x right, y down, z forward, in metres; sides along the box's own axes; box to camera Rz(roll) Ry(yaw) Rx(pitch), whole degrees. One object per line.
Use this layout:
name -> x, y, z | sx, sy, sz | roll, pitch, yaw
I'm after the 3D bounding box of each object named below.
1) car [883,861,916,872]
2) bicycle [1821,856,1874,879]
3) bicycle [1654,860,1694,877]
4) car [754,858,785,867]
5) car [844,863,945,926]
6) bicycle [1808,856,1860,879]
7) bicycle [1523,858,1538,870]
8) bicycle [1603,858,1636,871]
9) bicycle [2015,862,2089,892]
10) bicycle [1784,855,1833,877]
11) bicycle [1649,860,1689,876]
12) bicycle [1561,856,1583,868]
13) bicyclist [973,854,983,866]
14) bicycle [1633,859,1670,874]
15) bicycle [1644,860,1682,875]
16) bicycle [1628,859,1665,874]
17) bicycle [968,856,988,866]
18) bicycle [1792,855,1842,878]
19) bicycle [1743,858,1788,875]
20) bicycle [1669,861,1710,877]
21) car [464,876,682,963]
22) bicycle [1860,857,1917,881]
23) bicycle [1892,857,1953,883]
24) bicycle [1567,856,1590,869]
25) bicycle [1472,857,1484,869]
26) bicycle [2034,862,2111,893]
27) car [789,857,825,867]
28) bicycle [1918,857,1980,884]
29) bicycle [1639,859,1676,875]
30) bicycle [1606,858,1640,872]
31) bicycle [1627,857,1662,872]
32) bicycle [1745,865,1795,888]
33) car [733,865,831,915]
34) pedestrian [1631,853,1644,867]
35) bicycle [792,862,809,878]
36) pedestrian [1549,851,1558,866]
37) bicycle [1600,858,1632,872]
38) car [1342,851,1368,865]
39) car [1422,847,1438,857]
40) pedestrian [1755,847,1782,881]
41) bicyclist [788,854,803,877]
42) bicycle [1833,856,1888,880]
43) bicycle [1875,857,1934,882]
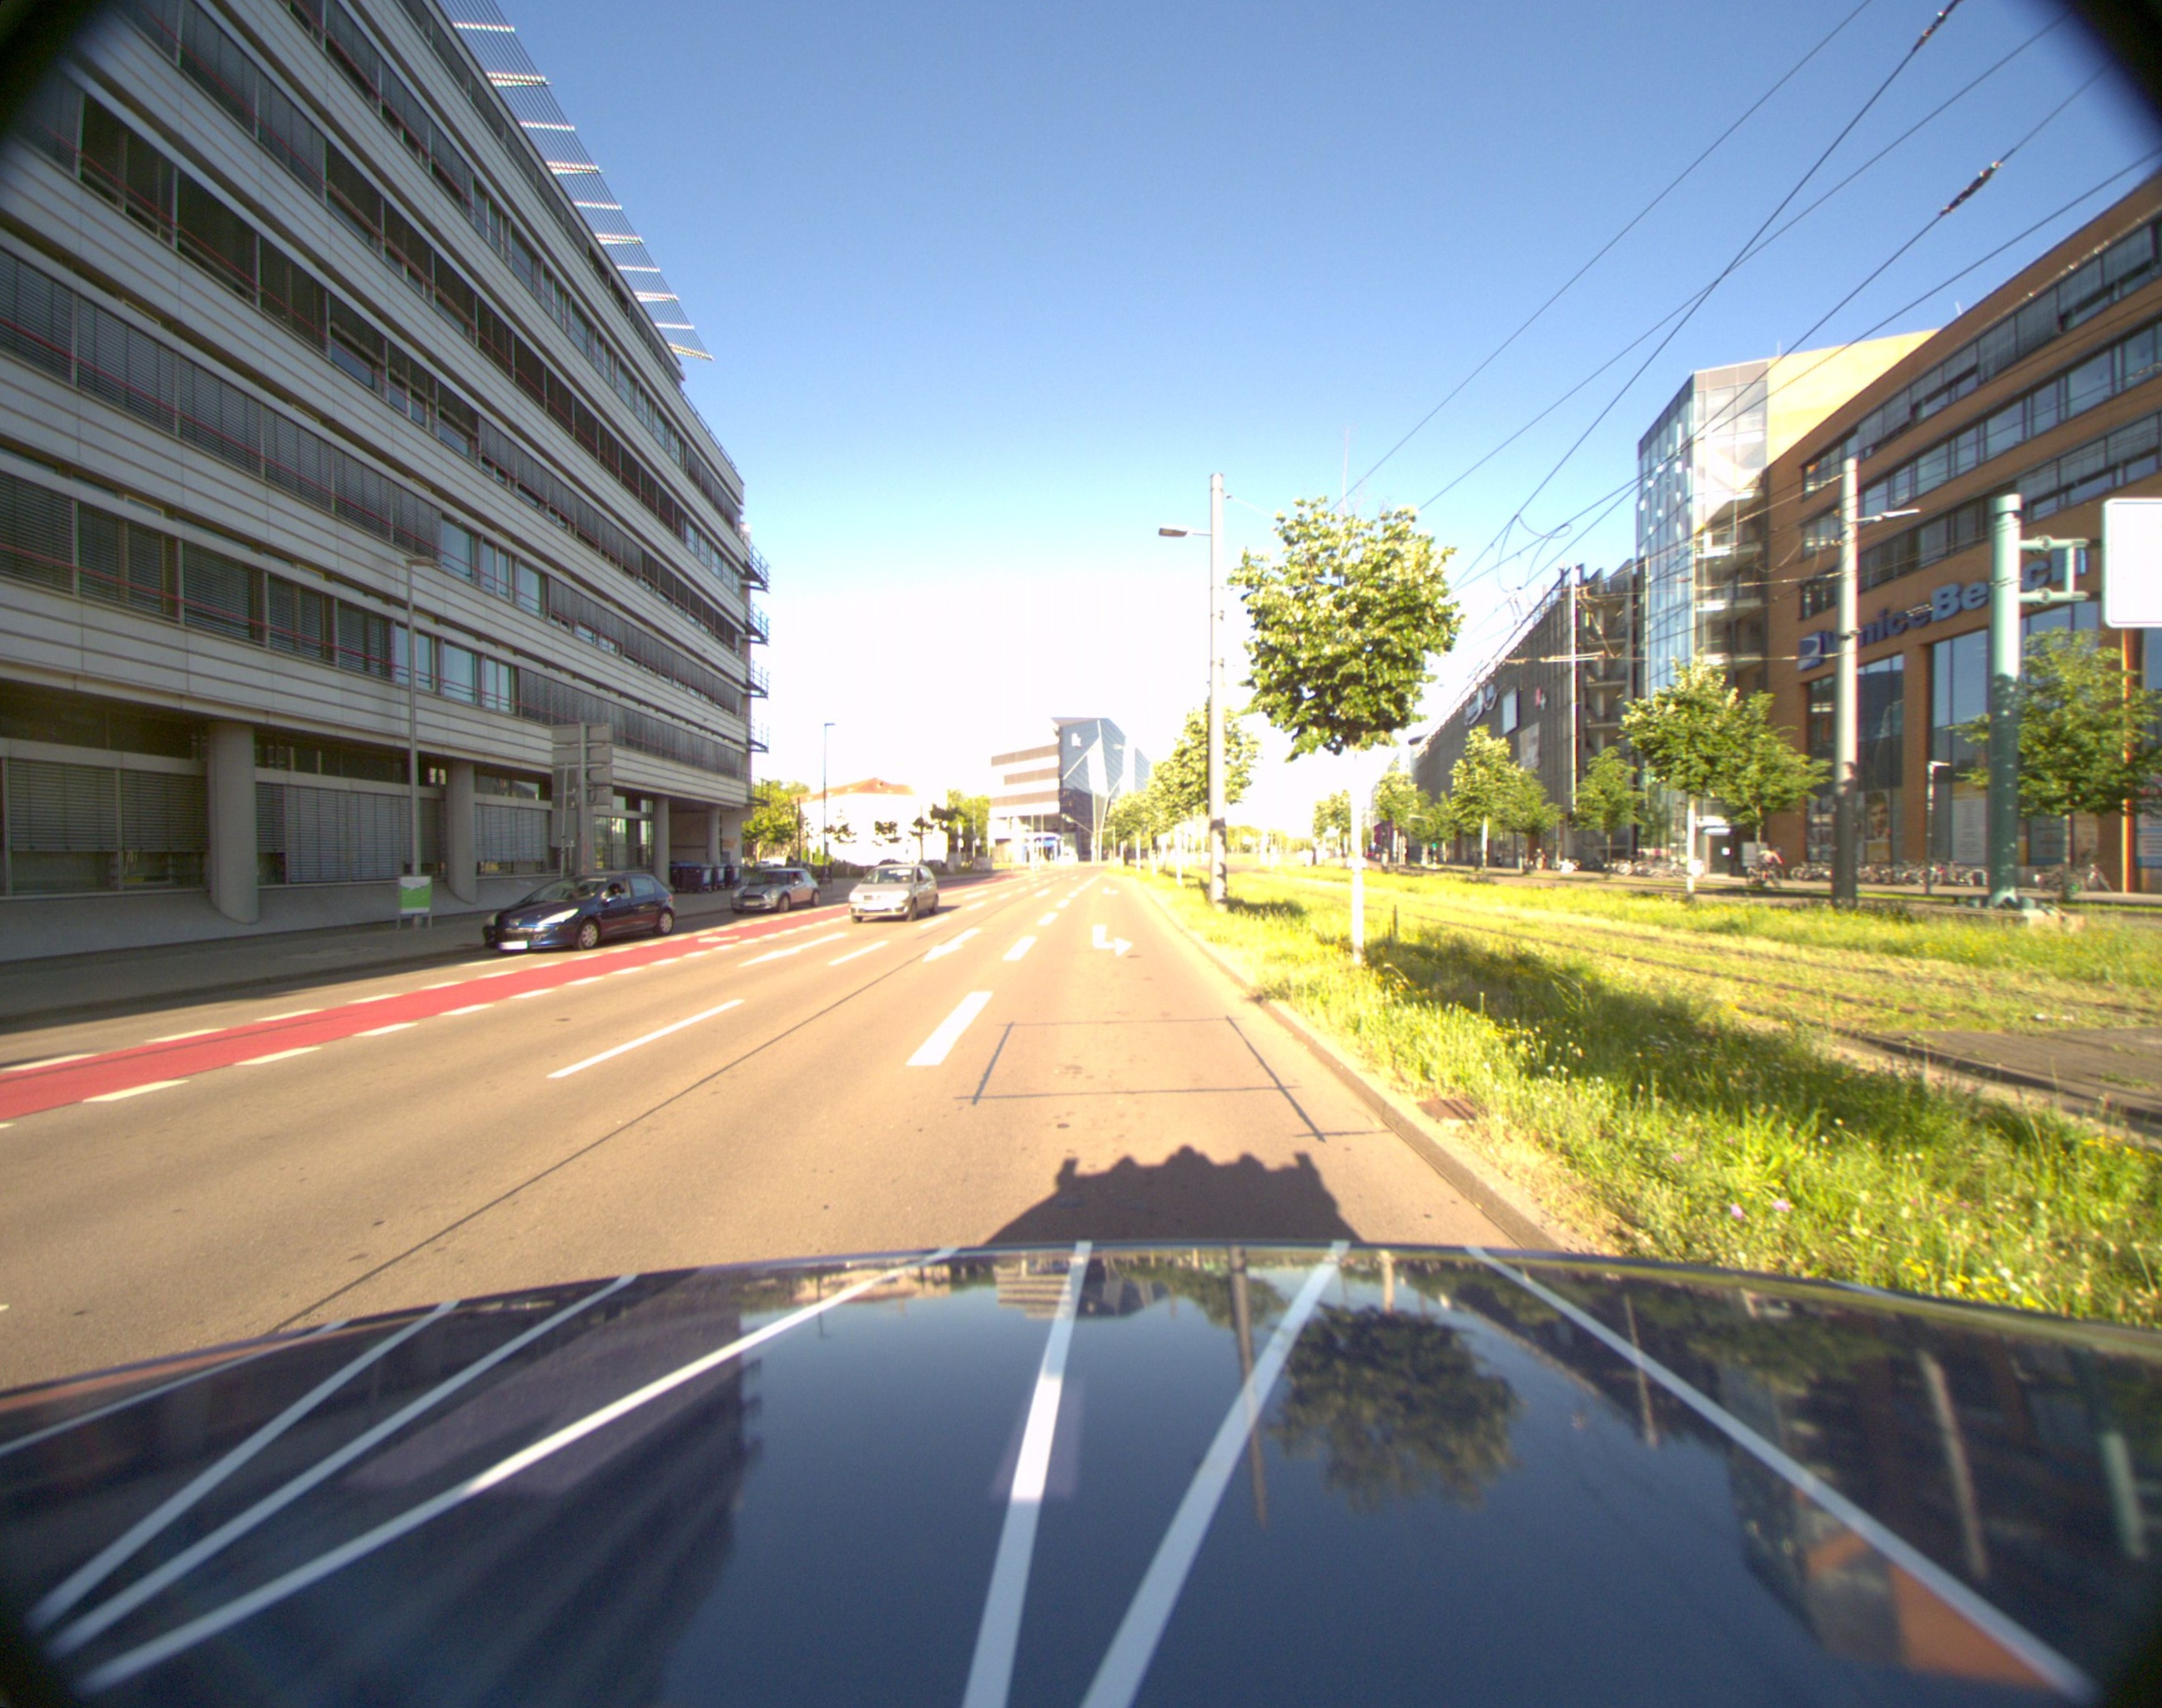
car -> -24.965, 1.745, 104.583 | 3.991, 1.414, 2.003 | -1, 1, 20
bicycle -> 35.172, 0.625, 34.887 | 1.769, 1.043, 0.491 | -1, 1, 8
bicycle -> 34.648, 0.851, 44.386 | 1.768, 0.921, 0.565 | -1, 1, 17
car -> -45.991, 1.288, 112.285 | 3.990, 1.237, 2.003 | -1, 1, 22
car -> -4.938, 1.029, 20.578 | 1.620, 1.421, 3.767 | -2, 1, 2
bicycle -> 35.230, 0.618, 35.561 | 1.769, 1.043, 0.491 | -1, 1, 8
bicycle -> 32.655, 0.733, 55.204 | 0.386, 0.863, 1.773 | 0, 1, 13
bicycle -> 36.721, 0.715, 51.823 | 1.768, 0.921, 0.491 | -1, 1, 17
bicycle -> 34.048, 0.800, 26.657 | 1.769, 1.043, 0.491 | -1, 1, 8
bicycle -> 35.511, 0.594, 37.121 | 1.769, 1.043, 0.491 | -1, 1, 8
bicycle -> 34.915, 0.835, 45.133 | 1.768, 0.921, 0.565 | -1, 1, 17
bicycle -> 37.993, 0.631, 58.804 | 1.398, 0.921, 0.462 | -1, 1, 17
bicyclist -> -13.313, 0.755, 98.113 | 1.006, 1.598, 0.880 | -1, 1, 14
bicycle -> 35.486, 0.797, 47.290 | 1.768, 0.921, 0.565 | -1, 1, 17
bicycle -> 35.154, 0.820, 45.900 | 1.768, 0.921, 0.565 | -1, 1, 17
bicycle -> 35.698, 0.784, 47.958 | 1.768, 0.921, 0.565 | -1, 1, 17
bicycle -> -13.299, 0.913, 98.097 | 2.368, 1.304, 0.952 | -1, 1, 13
bicycle -> 35.436, 0.601, 36.596 | 1.769, 1.043, 0.491 | -1, 1, 8
bicycle -> 37.513, 0.668, 41.650 | 1.768, 0.921, 0.565 | -1, 1, 17
bicycle -> 34.672, 0.859, 43.304 | 1.768, 0.921, 0.565 | -1, 1, 17
car -> -10.396, 1.265, 15.975 | 1.735, 1.437, 4.000 | -2, 0, 2
bicycle -> 34.949, 0.650, 32.888 | 1.769, 1.043, 0.491 | -1, 1, 8
bicycle -> 34.856, 0.666, 31.482 | 1.769, 1.043, 0.491 | -1, 1, 8
bicycle -> 37.578, 0.658, 57.363 | 1.398, 0.921, 0.462 | -1, 1, 17
bicycle -> 31.578, 0.678, 60.484 | 0.386, 0.918, 1.773 | 0, 1, 13
bicycle -> 33.981, 0.808, 26.053 | 1.769, 1.043, 0.491 | -1, 1, 8
car -> -39.636, 1.153, 109.867 | 4.516, 1.414, 2.002 | -1, 1, 17
bicycle -> 35.201, 0.659, 30.817 | 1.769, 1.043, 0.491 | -1, 1, 8
bicycle -> 35.330, 0.808, 46.581 | 1.768, 0.921, 0.565 | -1, 1, 17
bicycle -> 36.477, 0.729, 51.173 | 1.768, 0.921, 0.565 | -1, 1, 17
bicycle -> 36.000, 0.688, 48.563 | 1.768, 0.921, 0.491 | -1, 1, 17
bicycle -> 28.022, 0.913, 30.941 | 0.464, 0.863, 1.771 | -1, 1, 1
car -> -9.877, 1.140, 25.391 | 1.438, 1.437, 4.001 | -1, 0, 4
pedestrian -> 40.732, 0.436, 55.628 | 0.629, 1.048, 0.450 | -1, 1, 13
bicycle -> -19.642, 1.116, 53.250 | 0.505, 1.052, 1.702 | 2, 1, 2
pedestrian -> 38.387, 0.364, 61.685 | 0.448, 1.282, 0.630 | 0, 1, 13
bicycle -> 36.893, 0.743, 52.405 | 1.768, 0.921, 0.491 | -1, 1, 17
car -> 25.773, 0.352, 71.675 | 1.808, 1.320, 4.409 | 0, 1, 13
car -> 54.247, -0.354, 118.121 | 1.582, 1.521, 3.754 | -2, 1, 13
pedestrian -> 33.904, 0.497, 37.467 | 0.746, 1.659, 0.676 | -1, 1, 7
bicyclist -> -19.953, 0.777, 53.120 | 0.685, 1.609, 0.991 | -1, 1, 2
bicycle -> 35.056, 0.635, 34.187 | 1.769, 1.043, 0.491 | -1, 1, 8
bicycle -> 34.869, 0.659, 32.184 | 1.769, 1.043, 0.491 | -1, 1, 8
